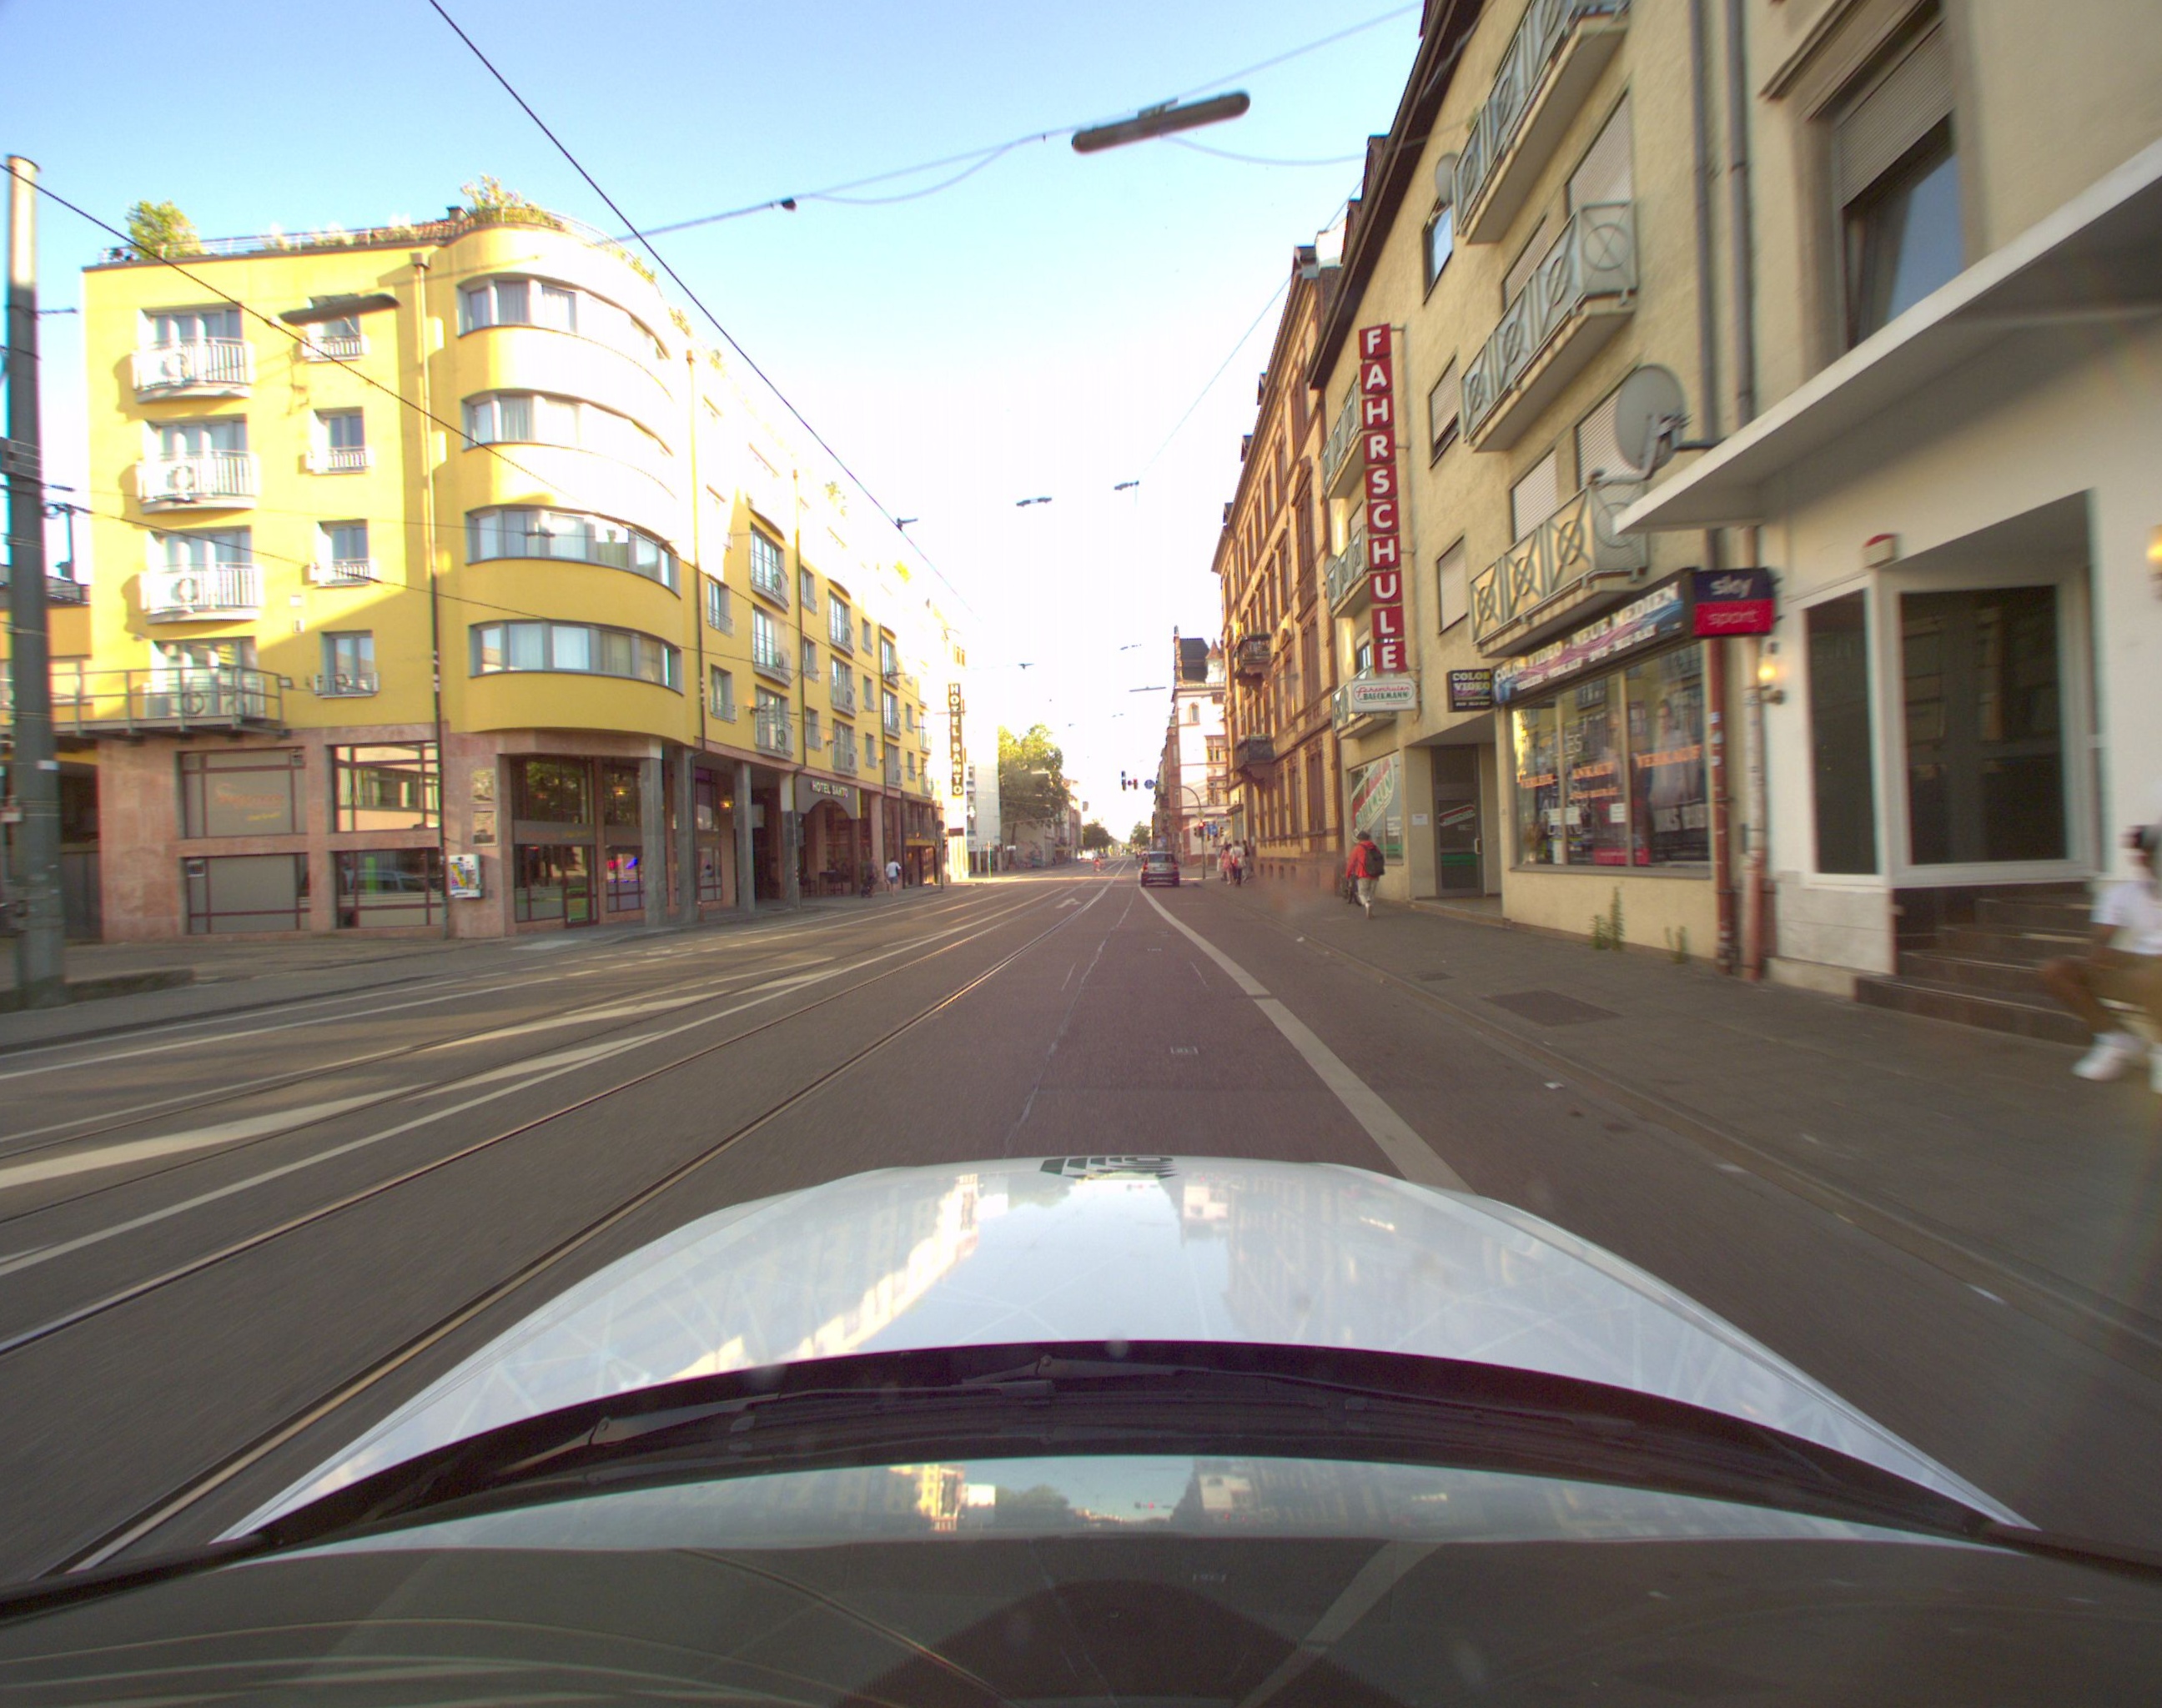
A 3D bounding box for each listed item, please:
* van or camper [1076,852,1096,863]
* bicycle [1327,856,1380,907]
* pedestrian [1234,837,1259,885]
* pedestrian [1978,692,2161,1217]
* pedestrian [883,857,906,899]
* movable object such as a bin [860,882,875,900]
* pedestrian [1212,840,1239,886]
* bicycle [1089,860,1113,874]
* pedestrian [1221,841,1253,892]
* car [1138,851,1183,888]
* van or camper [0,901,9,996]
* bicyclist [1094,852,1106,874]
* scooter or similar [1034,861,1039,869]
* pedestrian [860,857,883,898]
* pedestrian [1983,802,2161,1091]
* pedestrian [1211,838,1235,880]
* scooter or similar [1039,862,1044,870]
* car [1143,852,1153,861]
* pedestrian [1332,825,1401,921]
[{"bbox_3d":[1.287,0.790,211.640,4.661,2.563,1.982,-3,0,-27],"label":"van or camper"},{"bbox_3d":[6.513,0.619,19.560,0.552,1.061,2.314,-6,1,5],"label":"bicycle"},{"bbox_3d":[6.904,0.292,33.982,0.688,1.908,0.671,-8,1,2],"label":"pedestrian"},{"bbox_3d":[4.041,0.319,2.914,0.699,1.811,0.683,-9,1,19],"label":"pedestrian"},{"bbox_3d":[-8.557,1.088,37.375,0.748,1.818,1.047,1,1,4],"label":"pedestrian"},{"bbox_3d":[-9.352,1.620,35.641,0.381,0.716,0.842,1,1,5],"label":"movable object such as a bin"},{"bbox_3d":[6.086,0.377,34.328,0.802,1.799,0.762,-8,1,2],"label":"pedestrian"},{"bbox_3d":[1.567,1.001,62.845,1.702,1.034,0.601,-2,0,13],"label":"bicycle"},{"bbox_3d":[5.896,0.458,30.814,0.802,1.799,1.092,-8,1,2],"label":"pedestrian"},{"bbox_3d":[3.747,0.700,38.885,1.985,1.618,4.004,1,1,3],"label":"car"},{"bbox_3d":[-16.806,0.649,9.521,5.580,2.826,2.318,-4,1,4],"label":"van or camper"},{"bbox_3d":[1.486,0.700,62.862,0.734,1.634,0.610,-2,-1,13],"label":"bicyclist"},{"bbox_3d":[-6.181,1.542,113.462,0.514,1.045,1.479,-4,1,2],"label":"scooter or similar"},{"bbox_3d":[-9.387,1.056,36.443,0.794,1.771,0.750,1,1,3],"label":"pedestrian"},{"bbox_3d":[5.225,0.425,4.072,0.834,1.255,0.700,-10,1,-31],"label":"pedestrian"},{"bbox_3d":[6.557,0.230,37.667,0.802,1.799,0.762,-8,1,3],"label":"pedestrian"},{"bbox_3d":[-5.475,1.696,113.392,0.514,1.057,1.479,-4,1,2],"label":"scooter or similar"},{"bbox_3d":[13.305,0.465,161.164,1.941,1.683,4.006,-4,1,5],"label":"car"},{"bbox_3d":[5.337,0.336,15.255,0.794,1.627,0.826,-10,1,4],"label":"pedestrian"}]
